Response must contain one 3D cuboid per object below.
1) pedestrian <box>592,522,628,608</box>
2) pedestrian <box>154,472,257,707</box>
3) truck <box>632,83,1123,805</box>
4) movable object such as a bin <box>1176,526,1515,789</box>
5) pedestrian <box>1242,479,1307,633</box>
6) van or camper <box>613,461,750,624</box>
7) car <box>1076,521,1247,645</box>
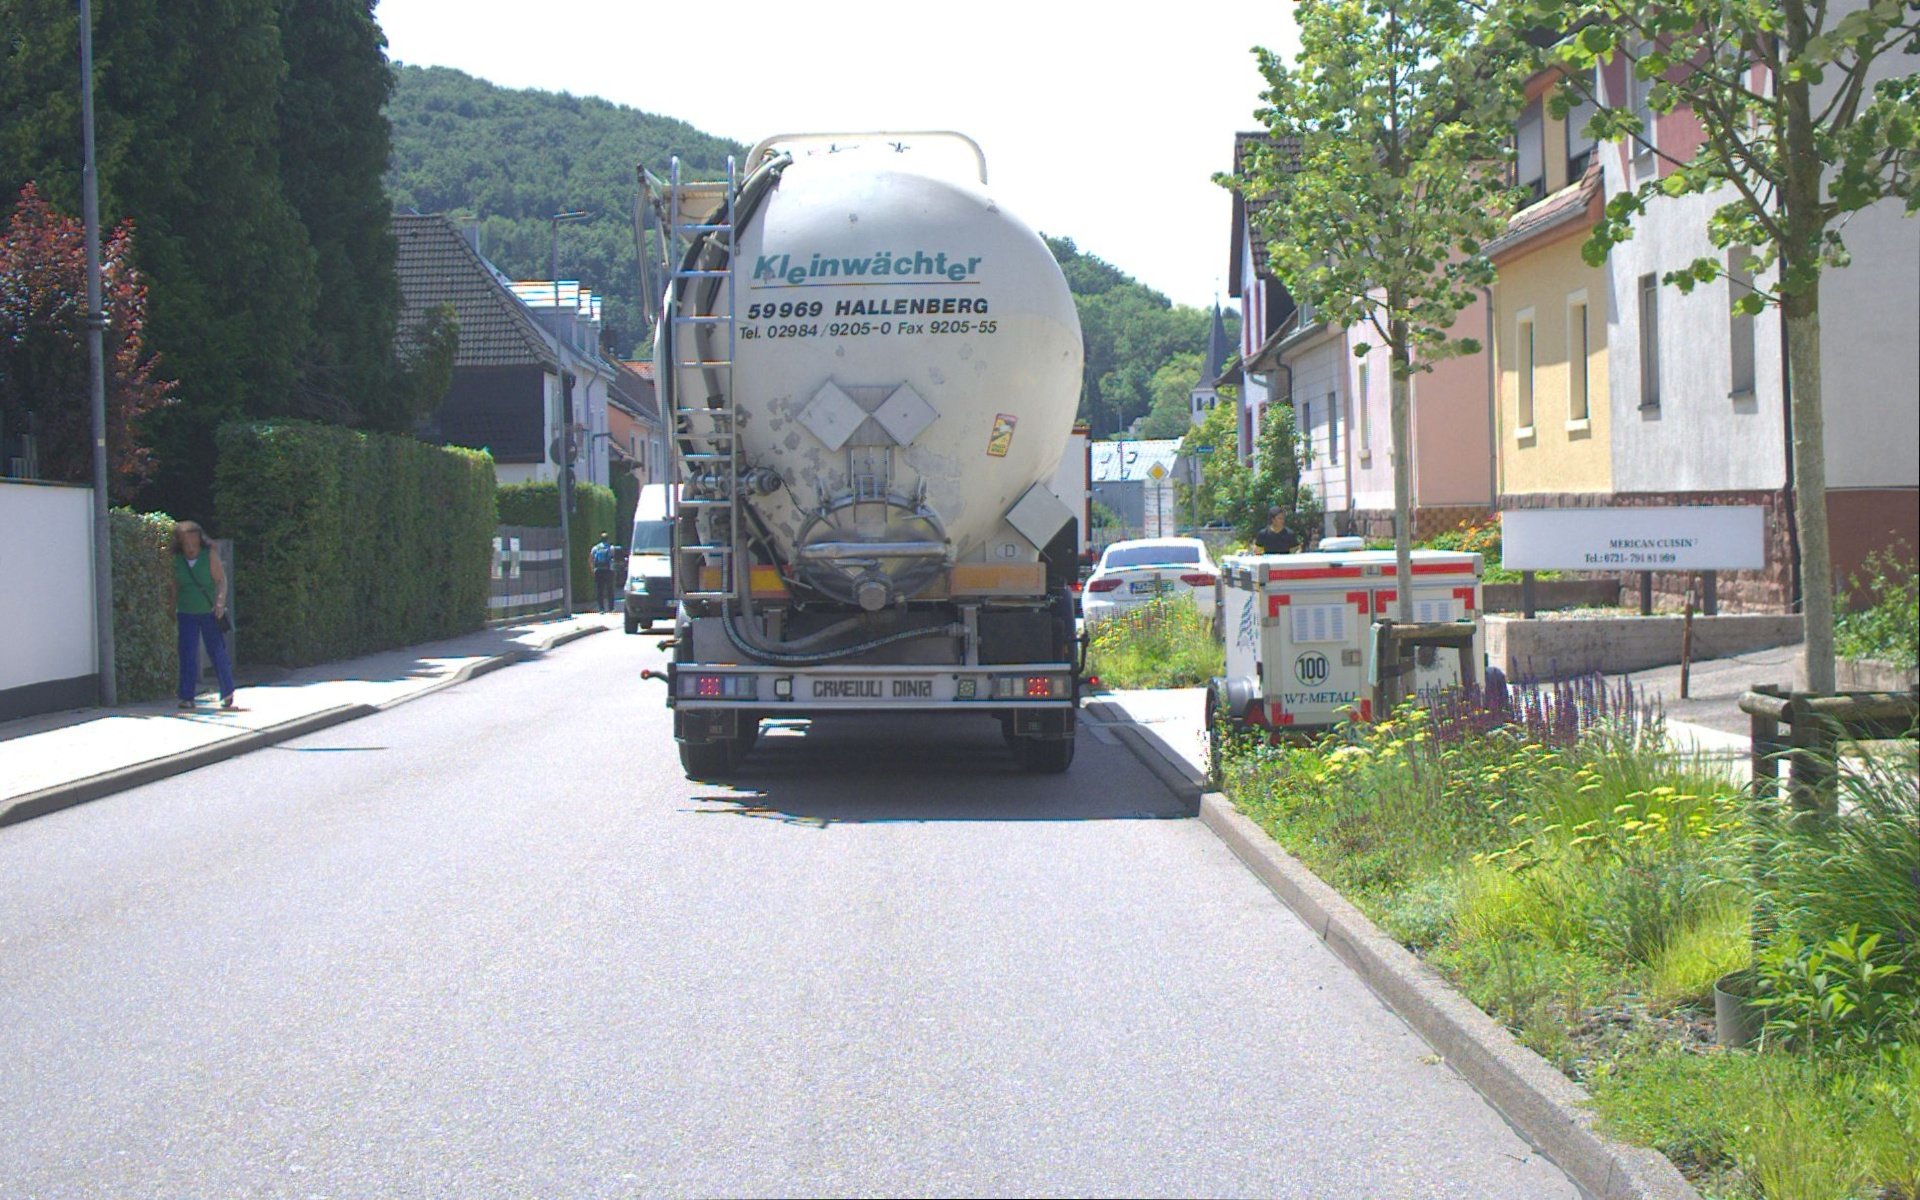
[{"bbox_3d":[-7.433,-0.743,72.978,0.712,1.817,0.898,1,0,-4],"label":"pedestrian"},{"bbox_3d":[-6.560,-0.092,29.919,0.720,2.007,0.804,1,0,-2],"label":"pedestrian"},{"bbox_3d":[-0.598,-0.973,24.753,2.750,4.043,10.890,0,1,-1],"label":"truck"},{"bbox_3d":[2.230,0.313,20.540,1.571,1.412,3.042,-2,0,-2],"label":"movable object such as a bin"},{"bbox_3d":[4.156,-0.574,45.495,0.746,2.007,1.033,1,0,0],"label":"pedestrian"},{"bbox_3d":[-4.822,-0.960,60.263,2.037,2.704,5.824,1,0,-1],"label":"van or camper"},{"bbox_3d":[2.518,-0.190,43.964,1.756,1.413,4.633,-3,0,-1],"label":"car"}]
